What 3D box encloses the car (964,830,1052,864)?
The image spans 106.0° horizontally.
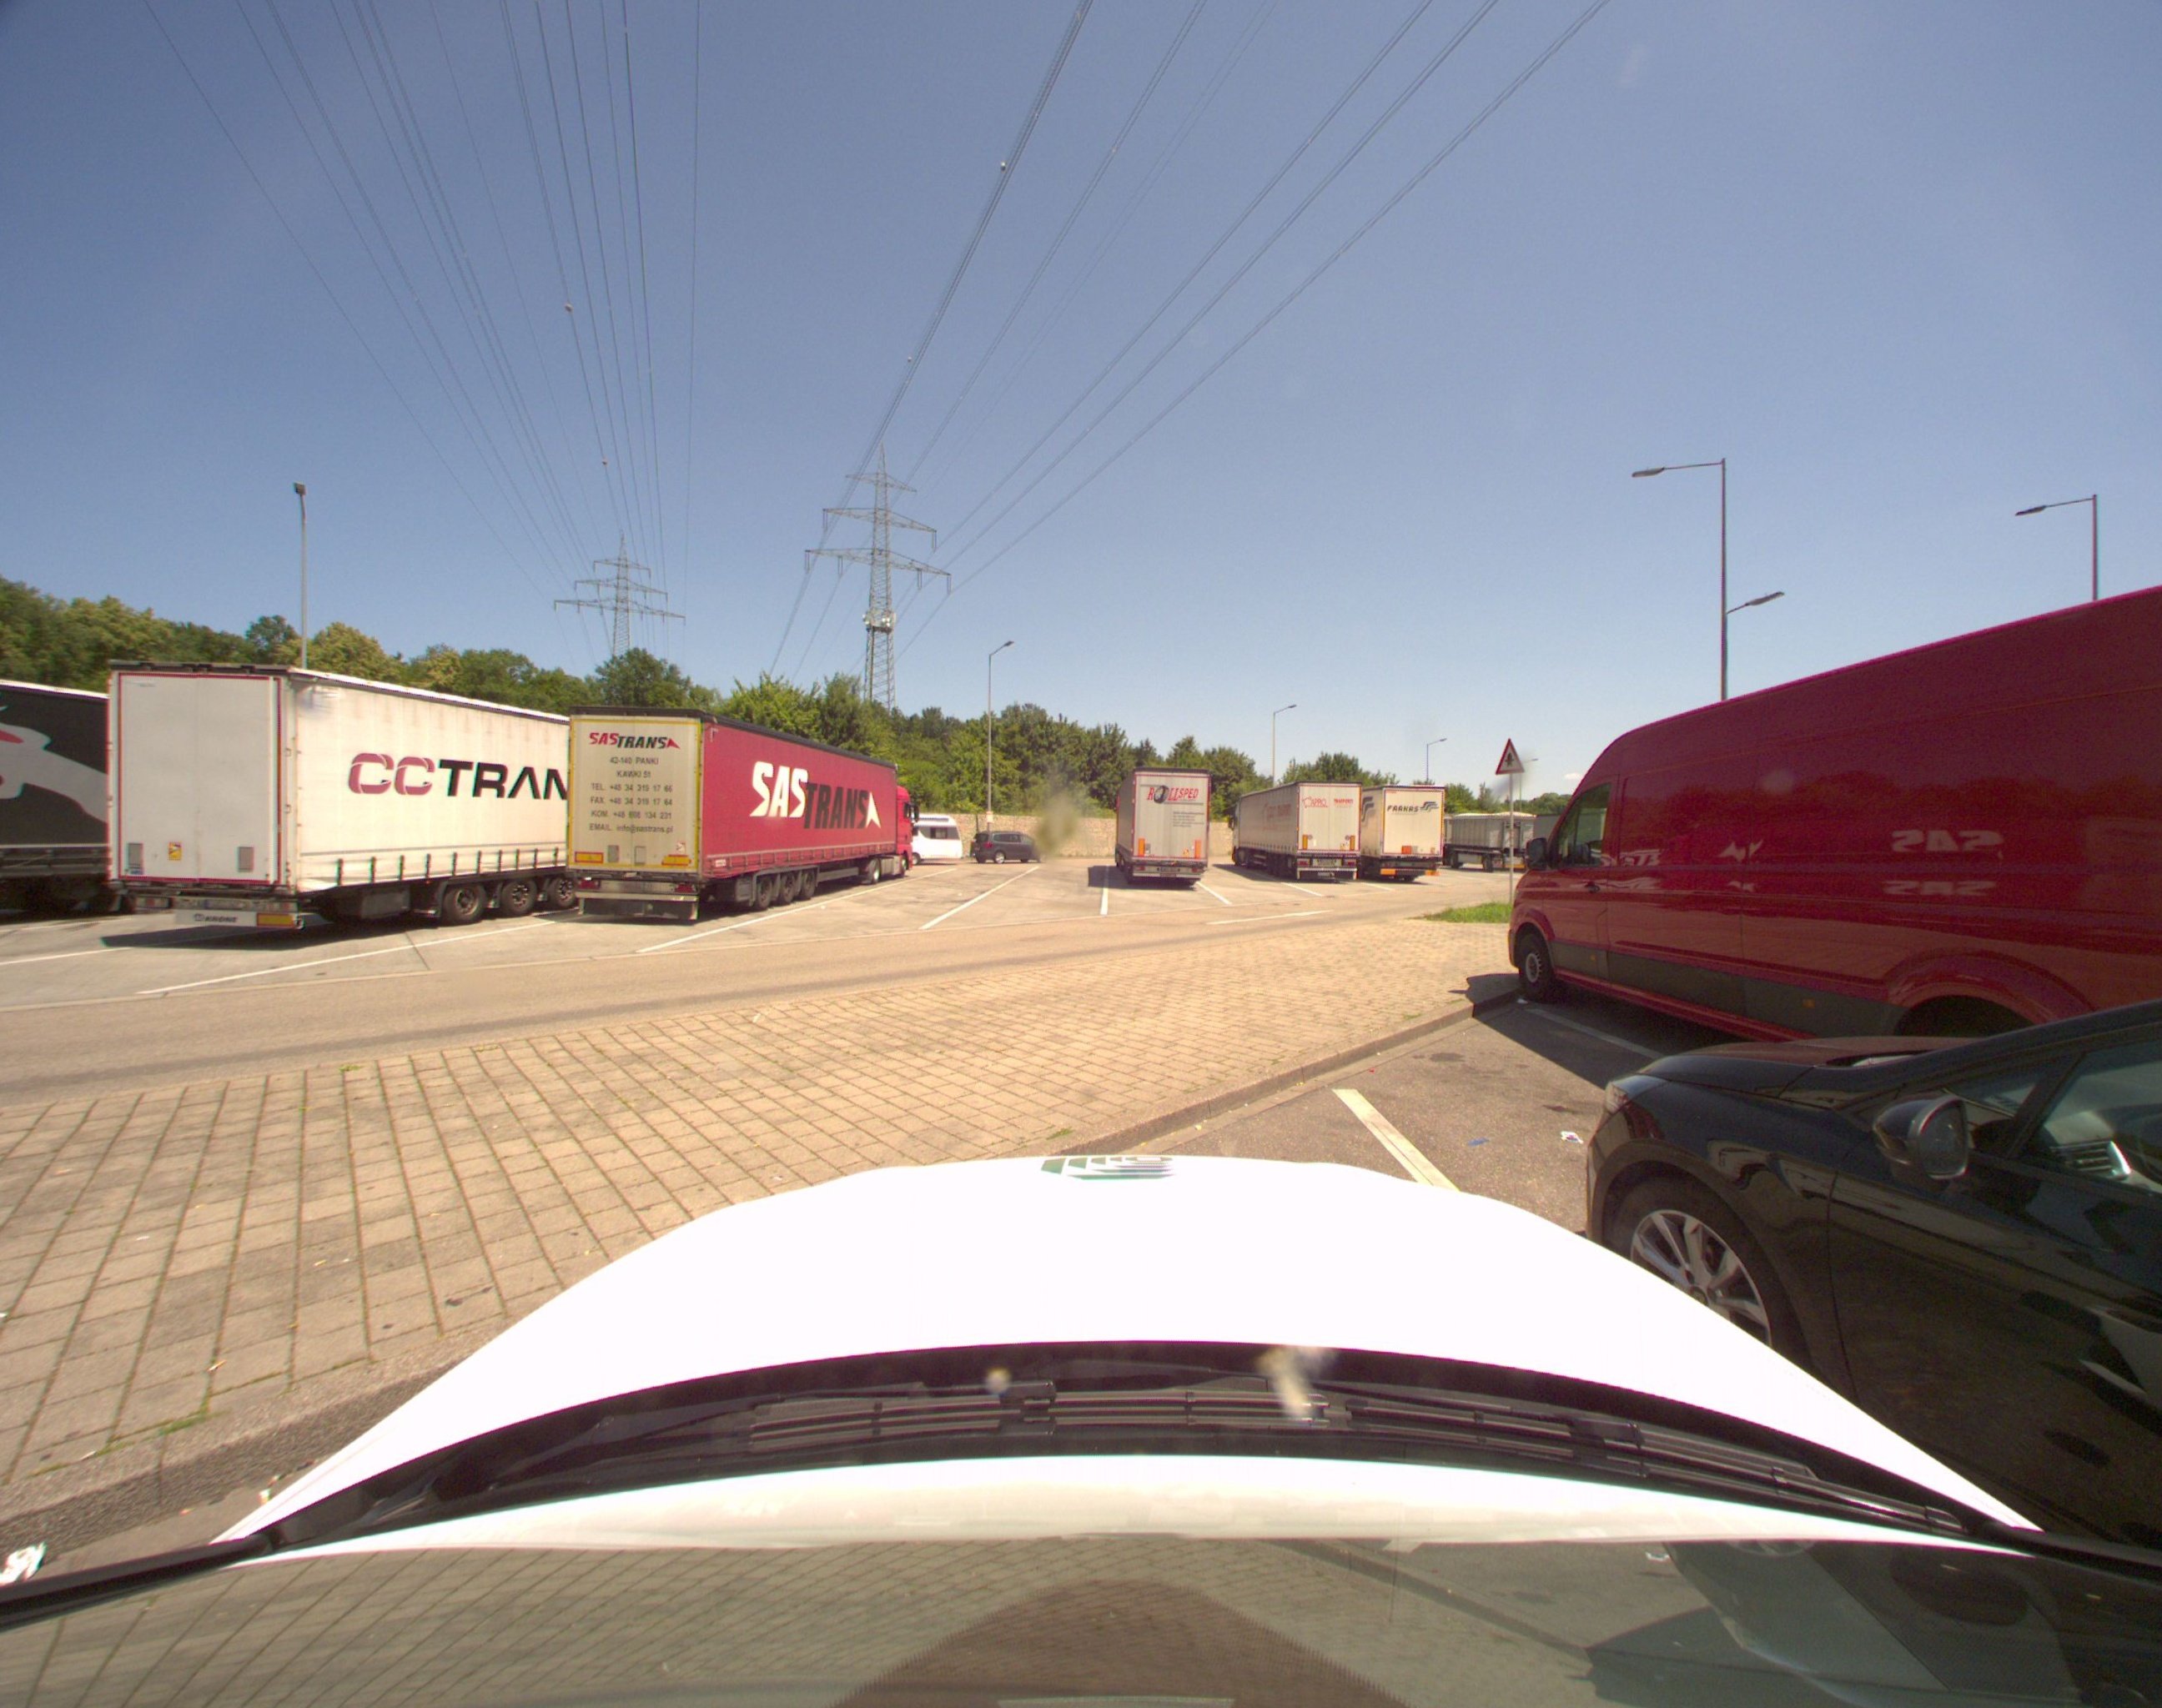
[{"bbox_3d":[-3.919,-0.373,44.095,4.535,1.708,1.766,0,3,-40],"label":"car"}]

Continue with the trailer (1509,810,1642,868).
[{"bbox_3d":[38.370,-1.229,64.121,2.826,4.049,13.737,1,2,3],"label":"trailer"}]

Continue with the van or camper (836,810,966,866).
[{"bbox_3d":[-8.709,-0.789,39.835,5.880,2.564,2.245,0,2,-42],"label":"van or camper"}]

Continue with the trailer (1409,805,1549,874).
[{"bbox_3d":[24.527,-1.001,51.438,2.826,3.717,13.737,1,2,3],"label":"trailer"}]

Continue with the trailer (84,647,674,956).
[{"bbox_3d":[-12.210,-0.910,16.314,2.718,4.209,10.176,1,2,2],"label":"trailer"}]

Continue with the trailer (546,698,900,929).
[{"bbox_3d":[-8.044,-0.973,21.643,2.896,4.131,13.731,1,2,2],"label":"trailer"}]

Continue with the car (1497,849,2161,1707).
[{"bbox_3d":[2.510,0.762,1.166,1.733,1.482,3.813,-1,1,-3],"label":"car"}]

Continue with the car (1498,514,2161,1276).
[{"bbox_3d":[5.154,0.095,5.475,2.055,2.695,6.405,-1,1,6],"label":"car"}]

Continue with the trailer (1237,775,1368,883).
[{"bbox_3d":[9.950,-1.163,38.608,2.828,4.132,13.730,1,2,2],"label":"trailer"}]

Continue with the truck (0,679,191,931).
[{"bbox_3d":[-18.586,-0.829,13.550,2.692,4.016,4.327,1,2,2],"label":"truck"}]

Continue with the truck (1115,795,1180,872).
[{"bbox_3d":[3.164,-1.007,39.894,2.841,3.483,5.486,1,2,2],"label":"truck"}]

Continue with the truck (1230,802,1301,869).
[{"bbox_3d":[10.159,-1.042,45.419,2.841,3.483,5.486,1,2,2],"label":"truck"}]

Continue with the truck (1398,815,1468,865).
[{"bbox_3d":[24.916,-1.014,57.936,2.840,3.364,5.488,1,2,3],"label":"truck"}]

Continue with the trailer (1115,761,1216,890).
[{"bbox_3d":[3.020,-1.116,33.281,2.896,4.132,13.727,1,2,1],"label":"trailer"}]

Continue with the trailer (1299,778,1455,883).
[{"bbox_3d":[13.607,-1.126,39.271,2.828,4.132,13.730,1,2,2],"label":"trailer"}]

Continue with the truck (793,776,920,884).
[{"bbox_3d":[-7.806,-0.860,29.079,2.841,3.427,5.486,1,2,2],"label":"truck"}]
